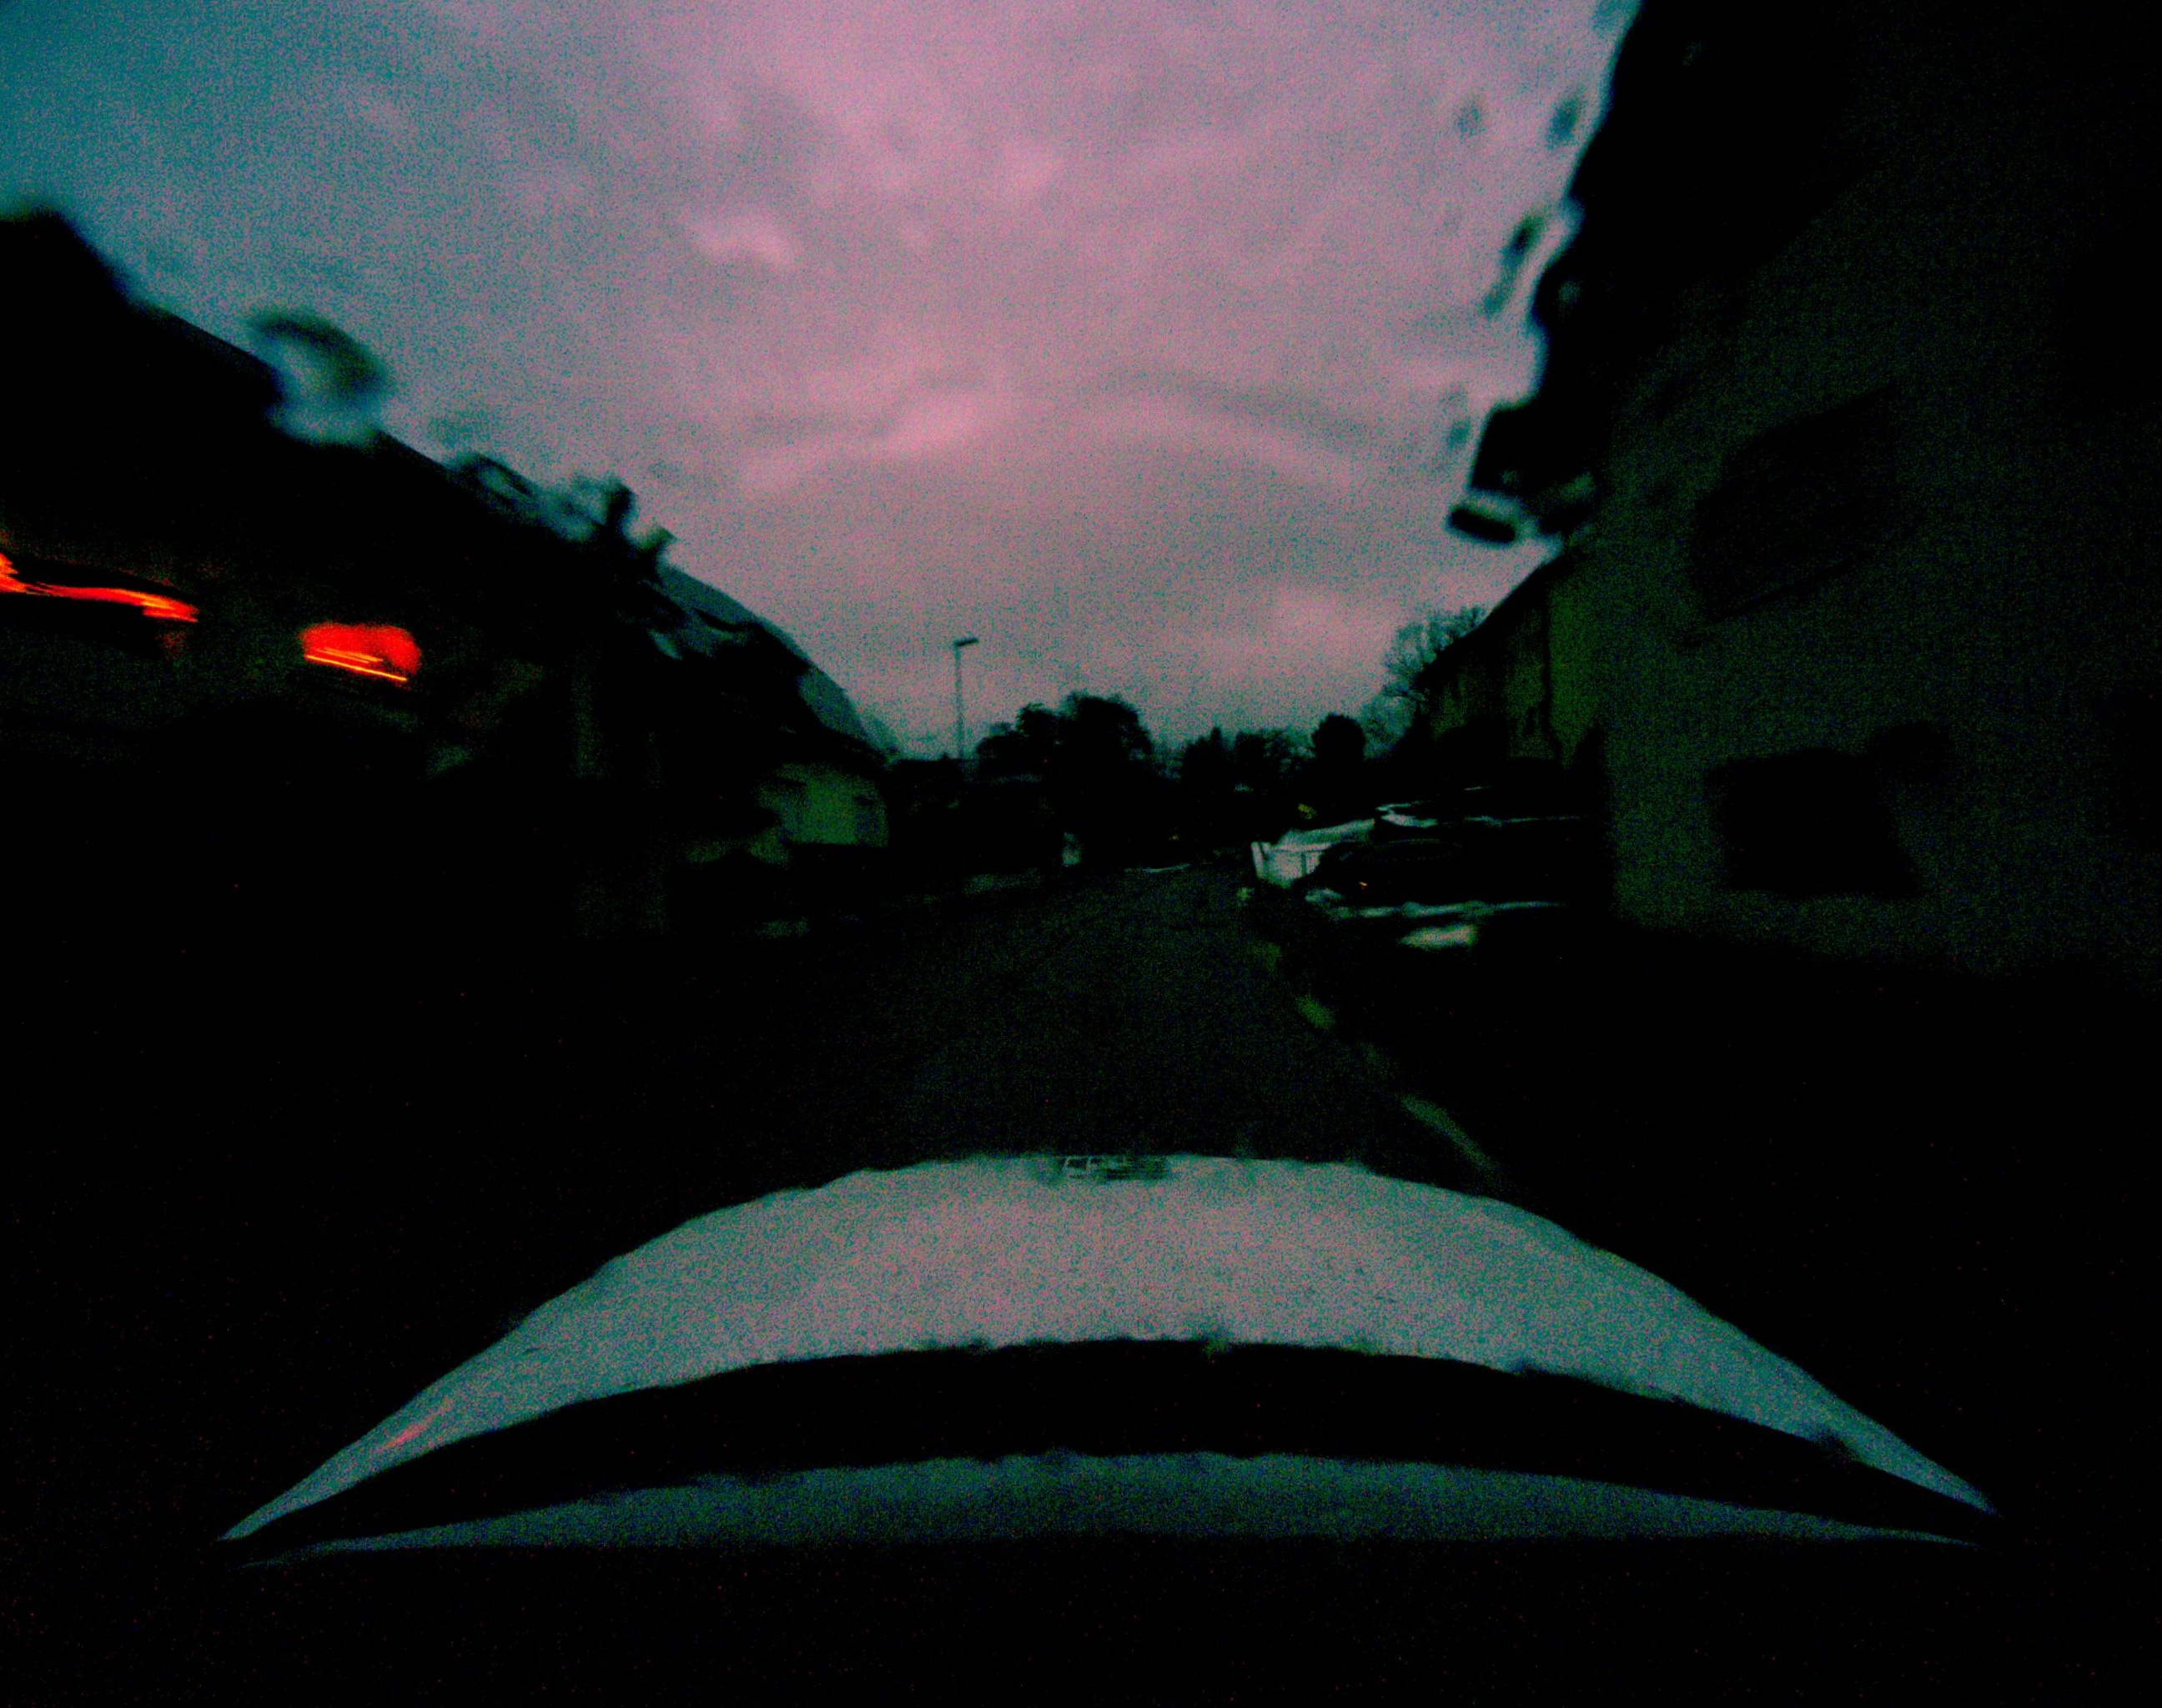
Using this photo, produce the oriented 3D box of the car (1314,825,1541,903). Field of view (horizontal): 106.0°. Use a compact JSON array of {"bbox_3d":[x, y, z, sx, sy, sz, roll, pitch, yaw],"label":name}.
[{"bbox_3d":[7.992,0.223,19.186,4.481,1.443,2.004,-4,0,6],"label":"car"}]
